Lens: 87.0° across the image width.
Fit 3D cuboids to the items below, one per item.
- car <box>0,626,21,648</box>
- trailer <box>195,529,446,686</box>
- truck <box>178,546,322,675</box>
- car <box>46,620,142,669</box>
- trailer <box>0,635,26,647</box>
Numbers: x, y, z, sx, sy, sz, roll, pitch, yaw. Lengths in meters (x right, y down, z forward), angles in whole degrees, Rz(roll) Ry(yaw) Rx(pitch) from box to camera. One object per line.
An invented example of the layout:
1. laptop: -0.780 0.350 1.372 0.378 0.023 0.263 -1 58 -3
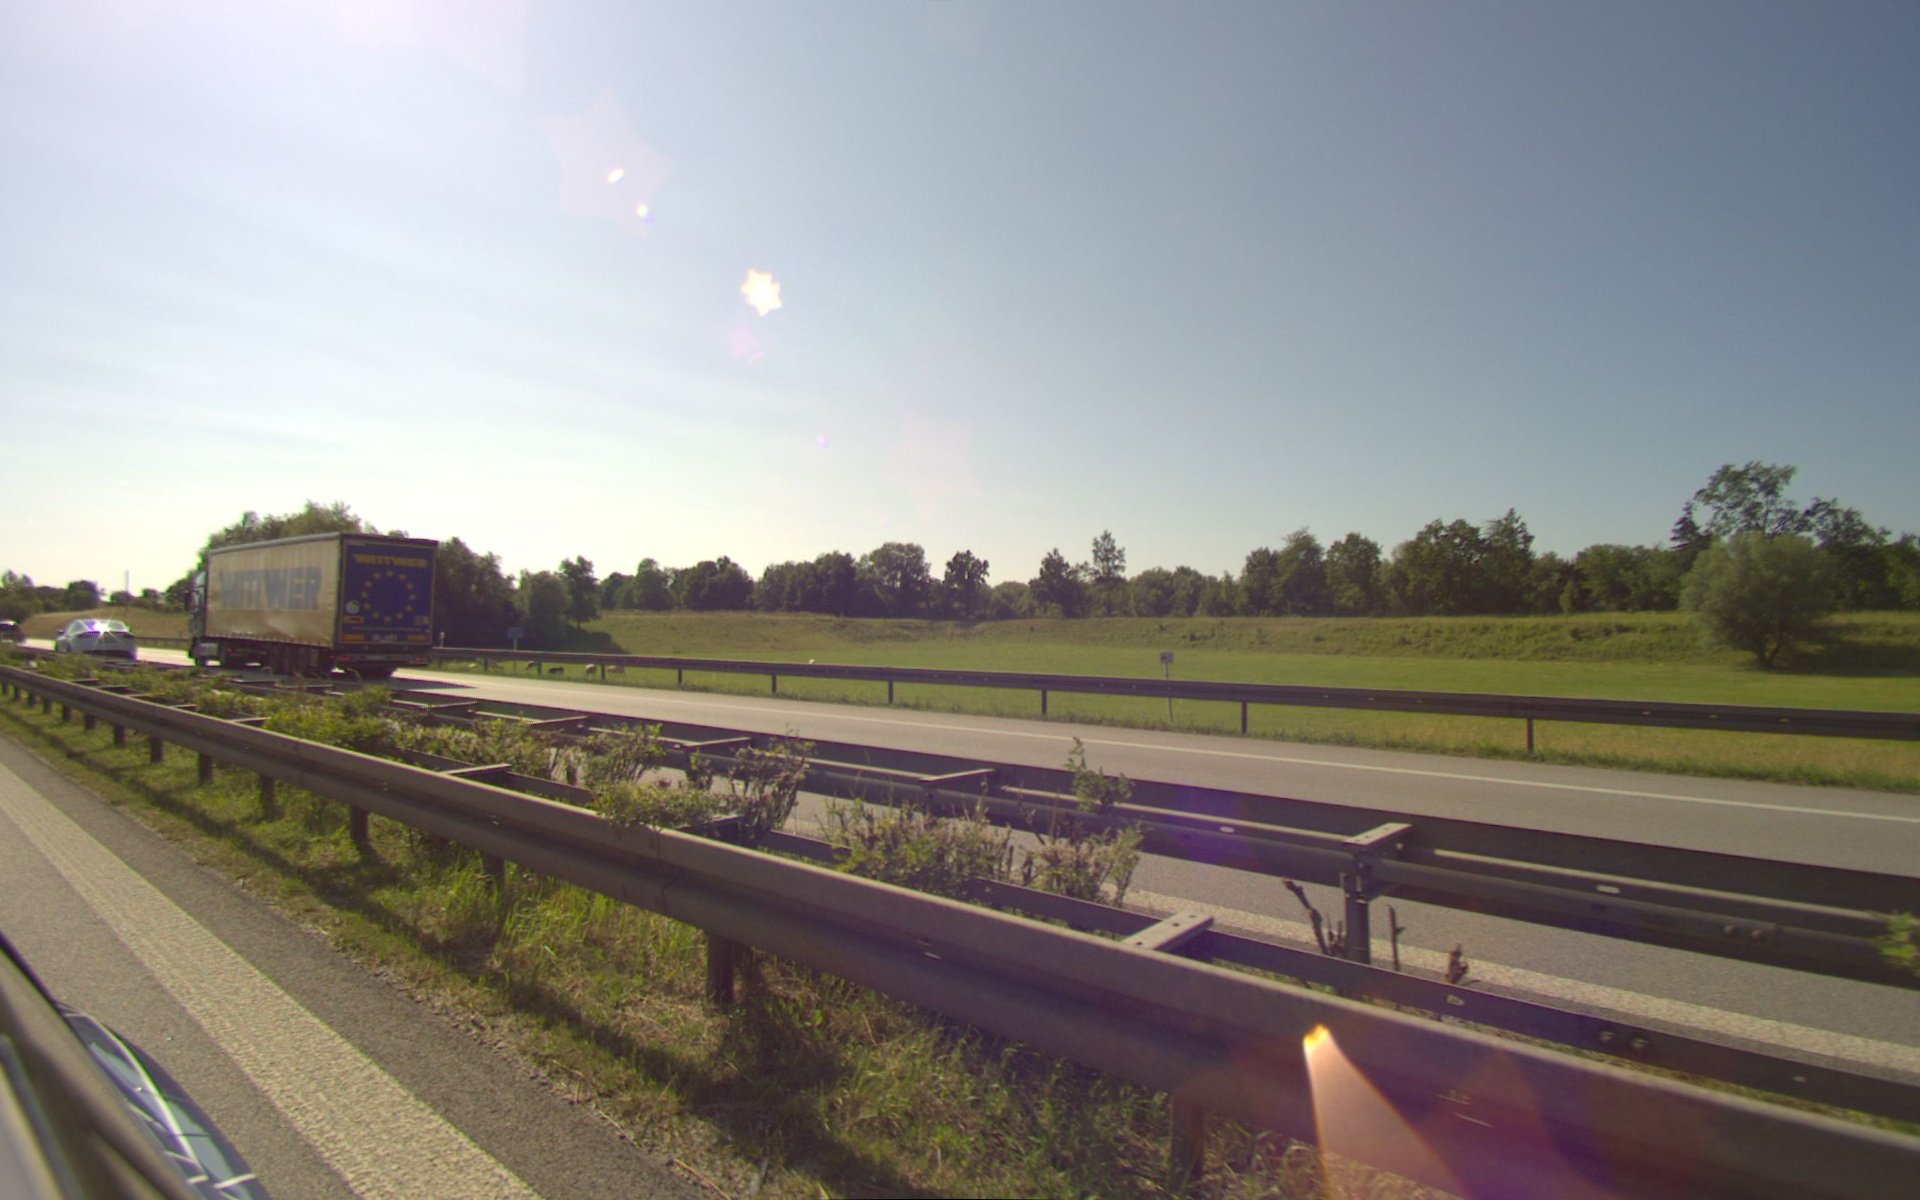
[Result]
1. car: -82.192 3.221 86.877 4.869 1.817 1.830 -2 -5 42
2. trailer: -21.119 0.382 32.715 14.386 4.192 2.758 -1 -3 41
3. truck: -26.049 0.448 37.036 6.331 4.335 2.711 -1 -3 41
4. car: -31.927 1.639 37.266 4.631 1.678 1.973 -1 -4 41
5. trailer: -78.916 3.364 83.945 4.019 0.943 1.723 -2 -3 42
